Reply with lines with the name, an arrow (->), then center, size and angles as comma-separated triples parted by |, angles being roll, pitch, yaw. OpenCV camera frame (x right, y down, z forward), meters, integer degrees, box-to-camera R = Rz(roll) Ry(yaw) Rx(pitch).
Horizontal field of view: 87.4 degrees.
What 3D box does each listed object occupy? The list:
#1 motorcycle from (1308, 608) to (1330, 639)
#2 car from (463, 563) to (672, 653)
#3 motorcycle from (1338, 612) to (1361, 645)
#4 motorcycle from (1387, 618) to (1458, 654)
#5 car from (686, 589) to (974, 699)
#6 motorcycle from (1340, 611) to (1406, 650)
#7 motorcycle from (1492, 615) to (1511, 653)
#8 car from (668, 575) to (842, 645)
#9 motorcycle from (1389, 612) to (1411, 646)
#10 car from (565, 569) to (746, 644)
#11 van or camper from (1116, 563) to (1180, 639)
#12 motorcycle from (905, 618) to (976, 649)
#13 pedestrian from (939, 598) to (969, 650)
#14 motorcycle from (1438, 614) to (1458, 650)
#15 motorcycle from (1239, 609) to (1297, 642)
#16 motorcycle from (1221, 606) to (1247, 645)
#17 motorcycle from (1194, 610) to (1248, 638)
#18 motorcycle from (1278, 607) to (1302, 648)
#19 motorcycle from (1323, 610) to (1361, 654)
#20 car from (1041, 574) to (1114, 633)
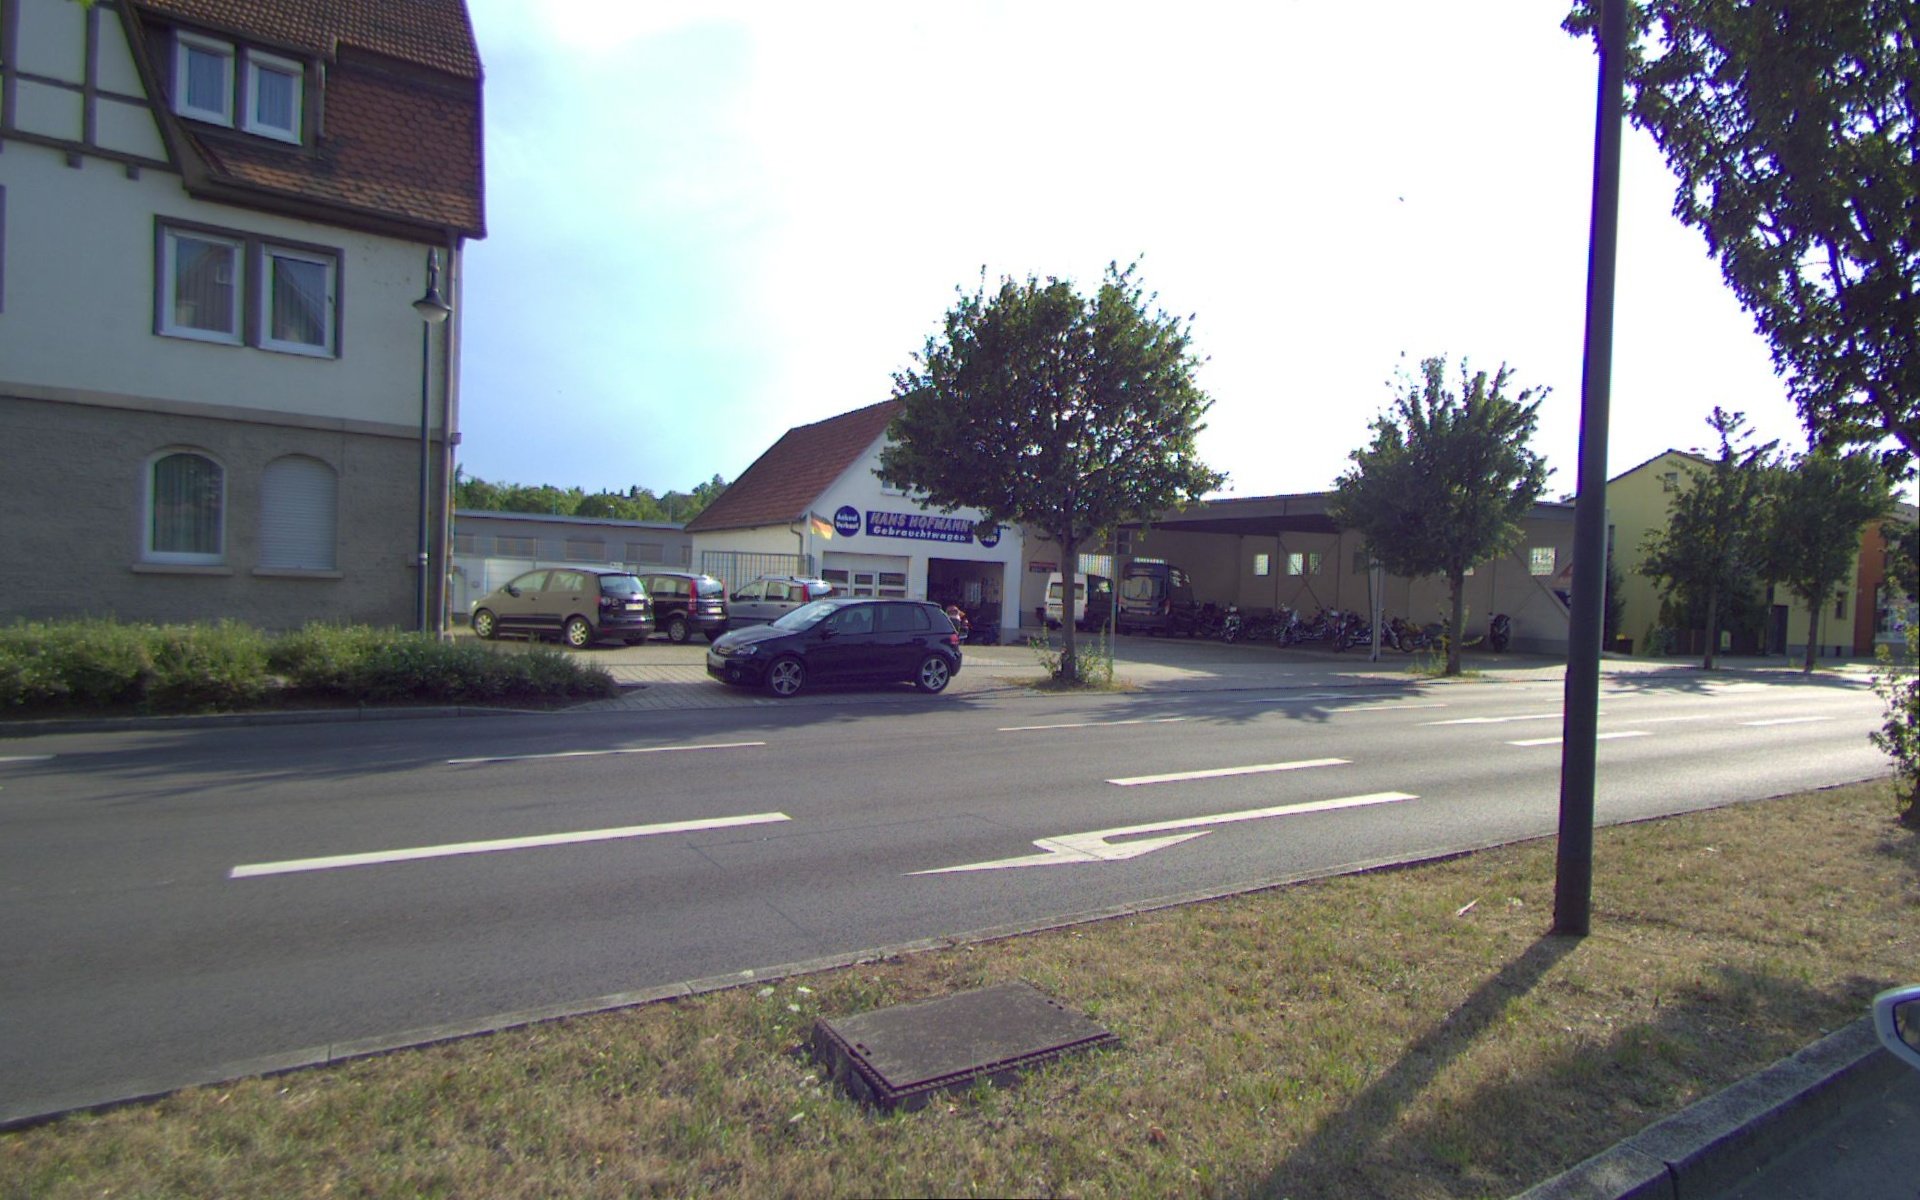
motorcycle -> 15.803, 1.017, 44.165 | 0.553, 1.325, 2.087 | 2, 0, 29
car -> -8.118, 0.125, 20.776 | 3.924, 1.573, 1.766 | 3, 2, 25
motorcycle -> 16.199, 1.167, 41.754 | 0.573, 1.325, 2.087 | 2, 0, 29
motorcycle -> 15.792, 1.223, 34.301 | 2.112, 1.139, 0.631 | 2, 0, -1
car -> -2.039, 0.675, 16.079 | 4.148, 1.463, 1.824 | 2, 3, -32
motorcycle -> 14.907, 1.086, 36.279 | 2.112, 1.347, 0.563 | 2, 0, -1
motorcycle -> 19.764, 1.222, 36.640 | 0.553, 1.325, 2.112 | 2, 0, 29
car -> -5.075, 0.224, 24.899 | 3.924, 1.572, 1.766 | 2, 0, 25
motorcycle -> 17.818, 1.183, 40.664 | 0.612, 1.325, 2.087 | 2, 0, 29
car -> -7.071, 0.121, 23.277 | 3.927, 1.572, 1.765 | 2, 0, 29
van or camper -> 7.403, 0.062, 39.167 | 1.960, 2.716, 5.040 | 2, 0, 16
motorcycle -> -0.593, 1.036, 31.005 | 2.183, 0.932, 0.504 | 2, 0, -29
pedestrian -> -0.184, 0.730, 30.543 | 0.664, 1.543, 0.649 | 2, 0, -24
motorcycle -> 18.669, 1.198, 38.436 | 0.553, 1.325, 2.087 | 2, 0, 29
motorcycle -> 12.477, 1.020, 40.671 | 2.112, 1.275, 0.647 | 2, 0, -1
motorcycle -> 9.647, 0.890, 35.374 | 0.637, 1.329, 2.007 | 2, 0, 21
motorcycle -> 11.148, 1.014, 42.911 | 2.112, 1.138, 0.563 | 2, 0, -1
motorcycle -> 11.187, 0.931, 34.044 | 0.637, 1.329, 2.007 | 2, 0, 21
motorcycle -> 12.290, 1.019, 32.278 | 0.658, 1.329, 2.001 | 2, 0, 35
car -> 4.943, 0.171, 41.698 | 2.157, 2.279, 4.387 | 2, 0, 18
